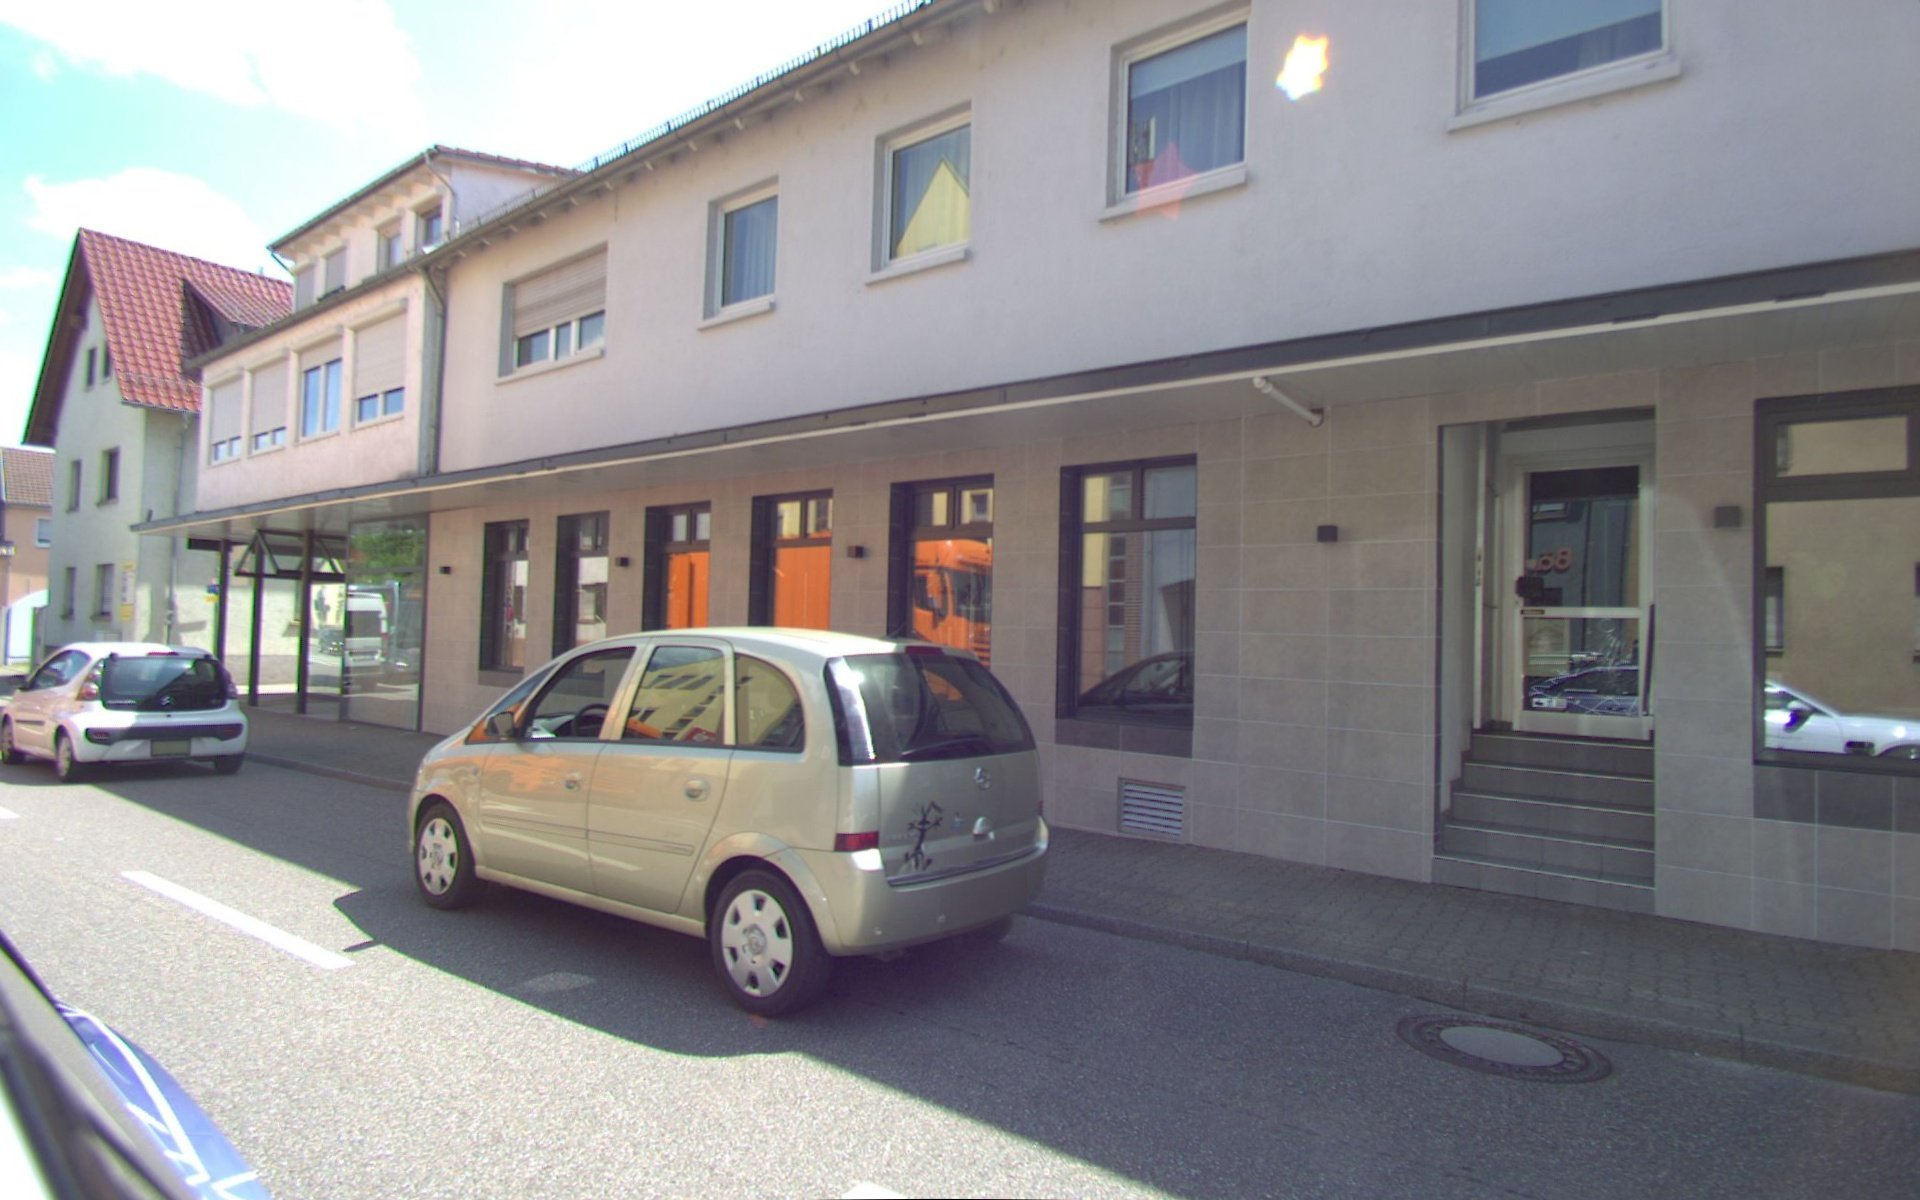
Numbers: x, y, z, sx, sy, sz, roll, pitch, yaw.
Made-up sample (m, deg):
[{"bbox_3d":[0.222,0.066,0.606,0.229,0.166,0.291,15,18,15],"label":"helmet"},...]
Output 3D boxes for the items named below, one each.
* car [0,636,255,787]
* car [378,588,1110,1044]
[{"bbox_3d":[-9.789,1.200,11.716,3.441,1.466,1.582,-1,-5,37],"label":"car"},{"bbox_3d":[-1.293,0.913,5.465,3.813,1.629,1.664,-2,-8,36],"label":"car"}]
